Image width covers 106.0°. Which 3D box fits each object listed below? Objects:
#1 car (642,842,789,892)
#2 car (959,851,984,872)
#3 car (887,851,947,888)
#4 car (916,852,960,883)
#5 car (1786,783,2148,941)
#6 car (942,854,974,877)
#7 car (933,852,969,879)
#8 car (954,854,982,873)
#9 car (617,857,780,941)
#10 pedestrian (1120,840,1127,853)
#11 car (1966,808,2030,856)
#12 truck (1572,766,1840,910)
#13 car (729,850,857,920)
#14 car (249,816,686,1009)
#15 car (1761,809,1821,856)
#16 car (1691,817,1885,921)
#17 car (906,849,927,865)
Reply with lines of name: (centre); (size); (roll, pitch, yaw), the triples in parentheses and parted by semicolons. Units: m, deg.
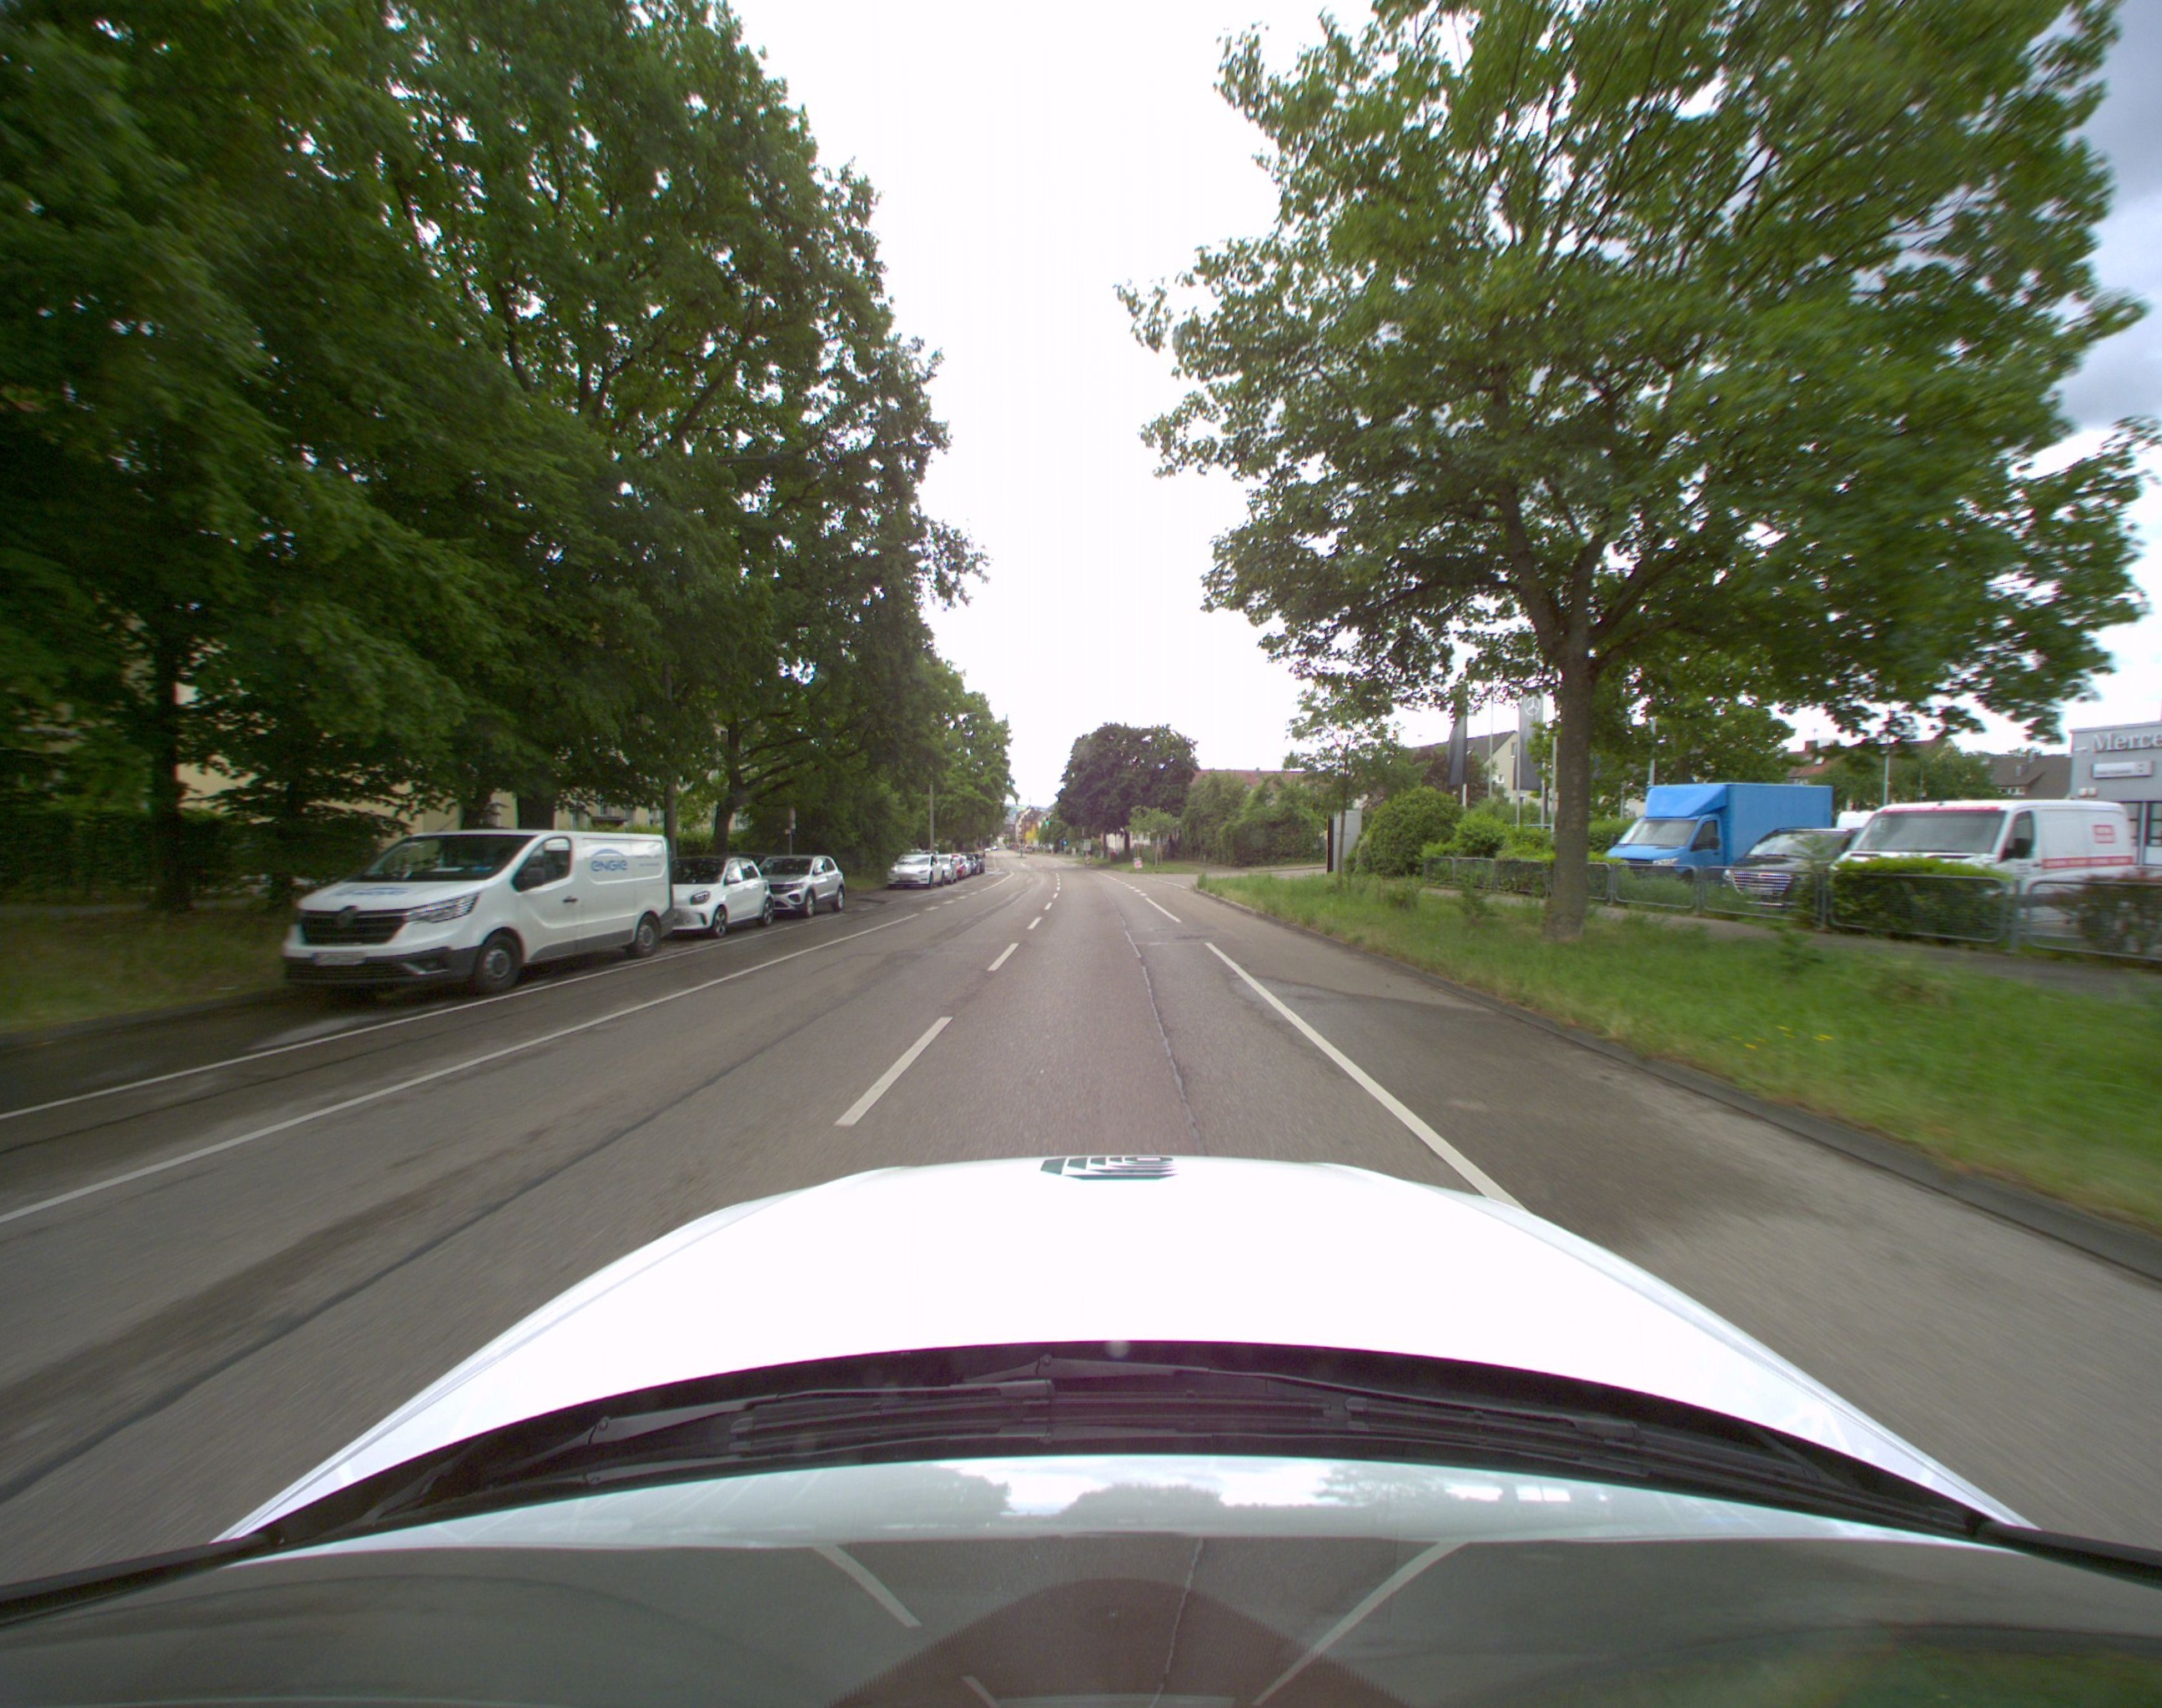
car: (-13.353, 0.465, 29.915); (4.413, 1.454, 1.888); (4, 0, 3)
car: (-8.789, 0.574, 65.644); (1.712, 1.612, 4.529); (0, 1, -4)
car: (-7.545, 0.690, 37.999); (1.761, 1.573, 4.760); (-1, 0, 1)
car: (-7.583, 0.707, 43.427); (1.864, 1.573, 4.114); (0, 0, -4)
car: (15.664, 0.147, 14.390); (6.033, 2.367, 2.345); (1, 0, -22)
car: (-8.148, 0.746, 54.182); (1.712, 1.459, 4.750); (0, 0, -4)
car: (-7.802, 0.679, 49.036); (1.712, 1.573, 4.365); (0, 0, -4)
car: (-8.303, 0.668, 60.055); (1.712, 1.389, 4.332); (0, 0, -4)
car: (-7.579, 0.812, 16.542); (1.576, 1.482, 3.718); (0, 0, -1)
pedestrian: (6.146, -1.104, 117.977); (0.750, 1.855, 0.948); (-3, 1, -21)
car: (54.018, -1.357, 48.069); (5.481, 2.676, 2.235); (-3, 3, -44)
truck: (17.104, -0.425, 22.246); (7.193, 3.477, 2.600); (-1, 0, -23)
car: (-7.383, 0.732, 21.356); (1.760, 1.633, 4.159); (0, 0, 2)
car: (-7.507, 0.586, 10.869); (1.859, 1.963, 5.128); (0, 0, 1)
car: (42.981, -1.349, 49.268); (5.481, 2.676, 2.235); (-3, 3, -44)
car: (15.766, 0.315, 18.141); (4.008, 2.075, 1.908); (1, 0, -27)
car: (-17.574, 0.290, 87.007); (1.759, 1.633, 4.280); (1, 0, -5)
